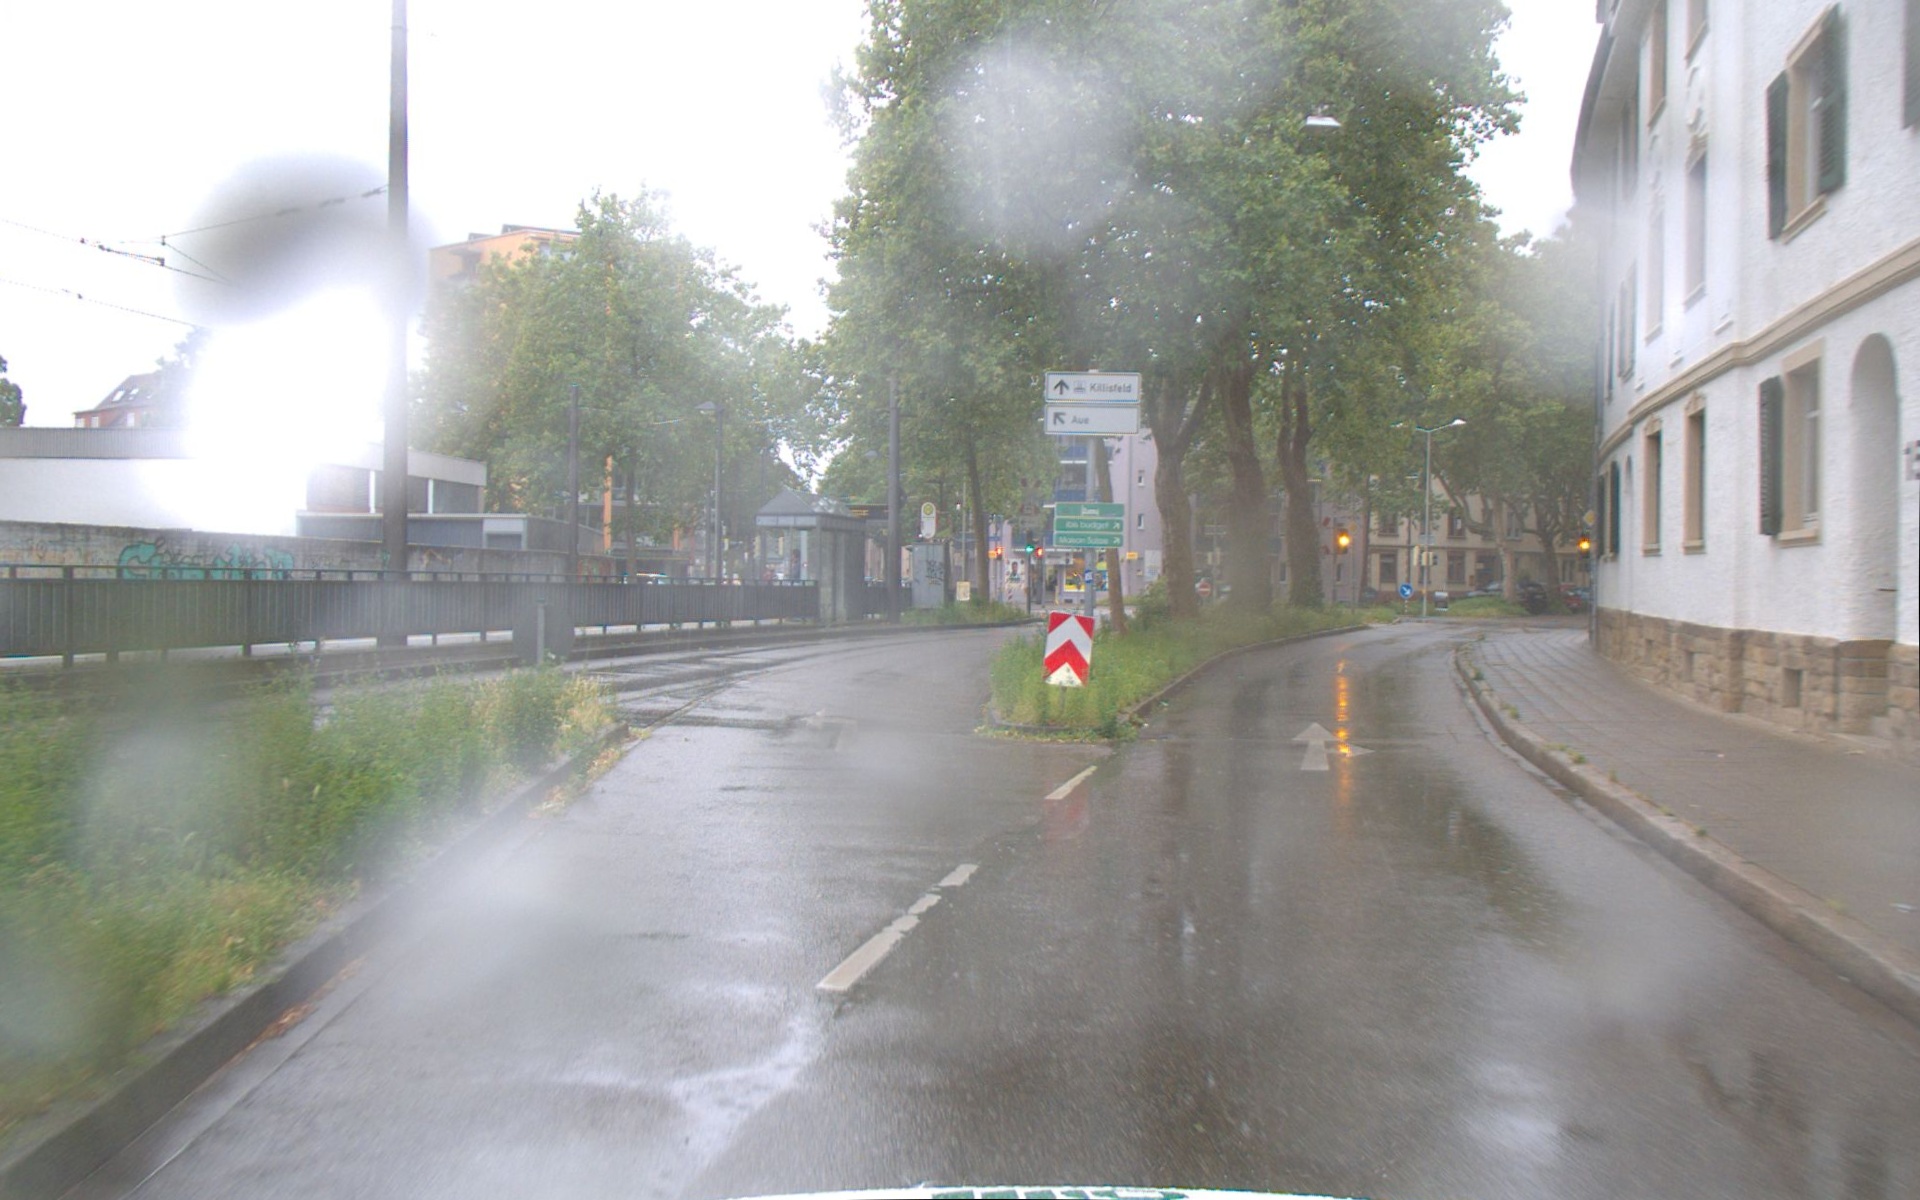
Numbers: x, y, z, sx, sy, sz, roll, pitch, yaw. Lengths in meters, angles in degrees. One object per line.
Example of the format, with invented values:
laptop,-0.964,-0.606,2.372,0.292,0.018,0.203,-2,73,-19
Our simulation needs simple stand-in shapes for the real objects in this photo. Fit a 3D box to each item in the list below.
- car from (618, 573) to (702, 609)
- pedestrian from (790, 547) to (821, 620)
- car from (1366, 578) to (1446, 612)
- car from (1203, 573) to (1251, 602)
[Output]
car,-15.184,-0.450,83.610,3.936,1.680,1.967,-1,0,34
pedestrian,-3.738,-0.398,39.985,0.572,1.761,0.565,-1,0,-20
car,21.527,-0.226,79.828,3.415,1.550,1.517,-1,0,31
car,15.479,-0.732,95.638,1.691,1.579,3.555,-1,0,27
